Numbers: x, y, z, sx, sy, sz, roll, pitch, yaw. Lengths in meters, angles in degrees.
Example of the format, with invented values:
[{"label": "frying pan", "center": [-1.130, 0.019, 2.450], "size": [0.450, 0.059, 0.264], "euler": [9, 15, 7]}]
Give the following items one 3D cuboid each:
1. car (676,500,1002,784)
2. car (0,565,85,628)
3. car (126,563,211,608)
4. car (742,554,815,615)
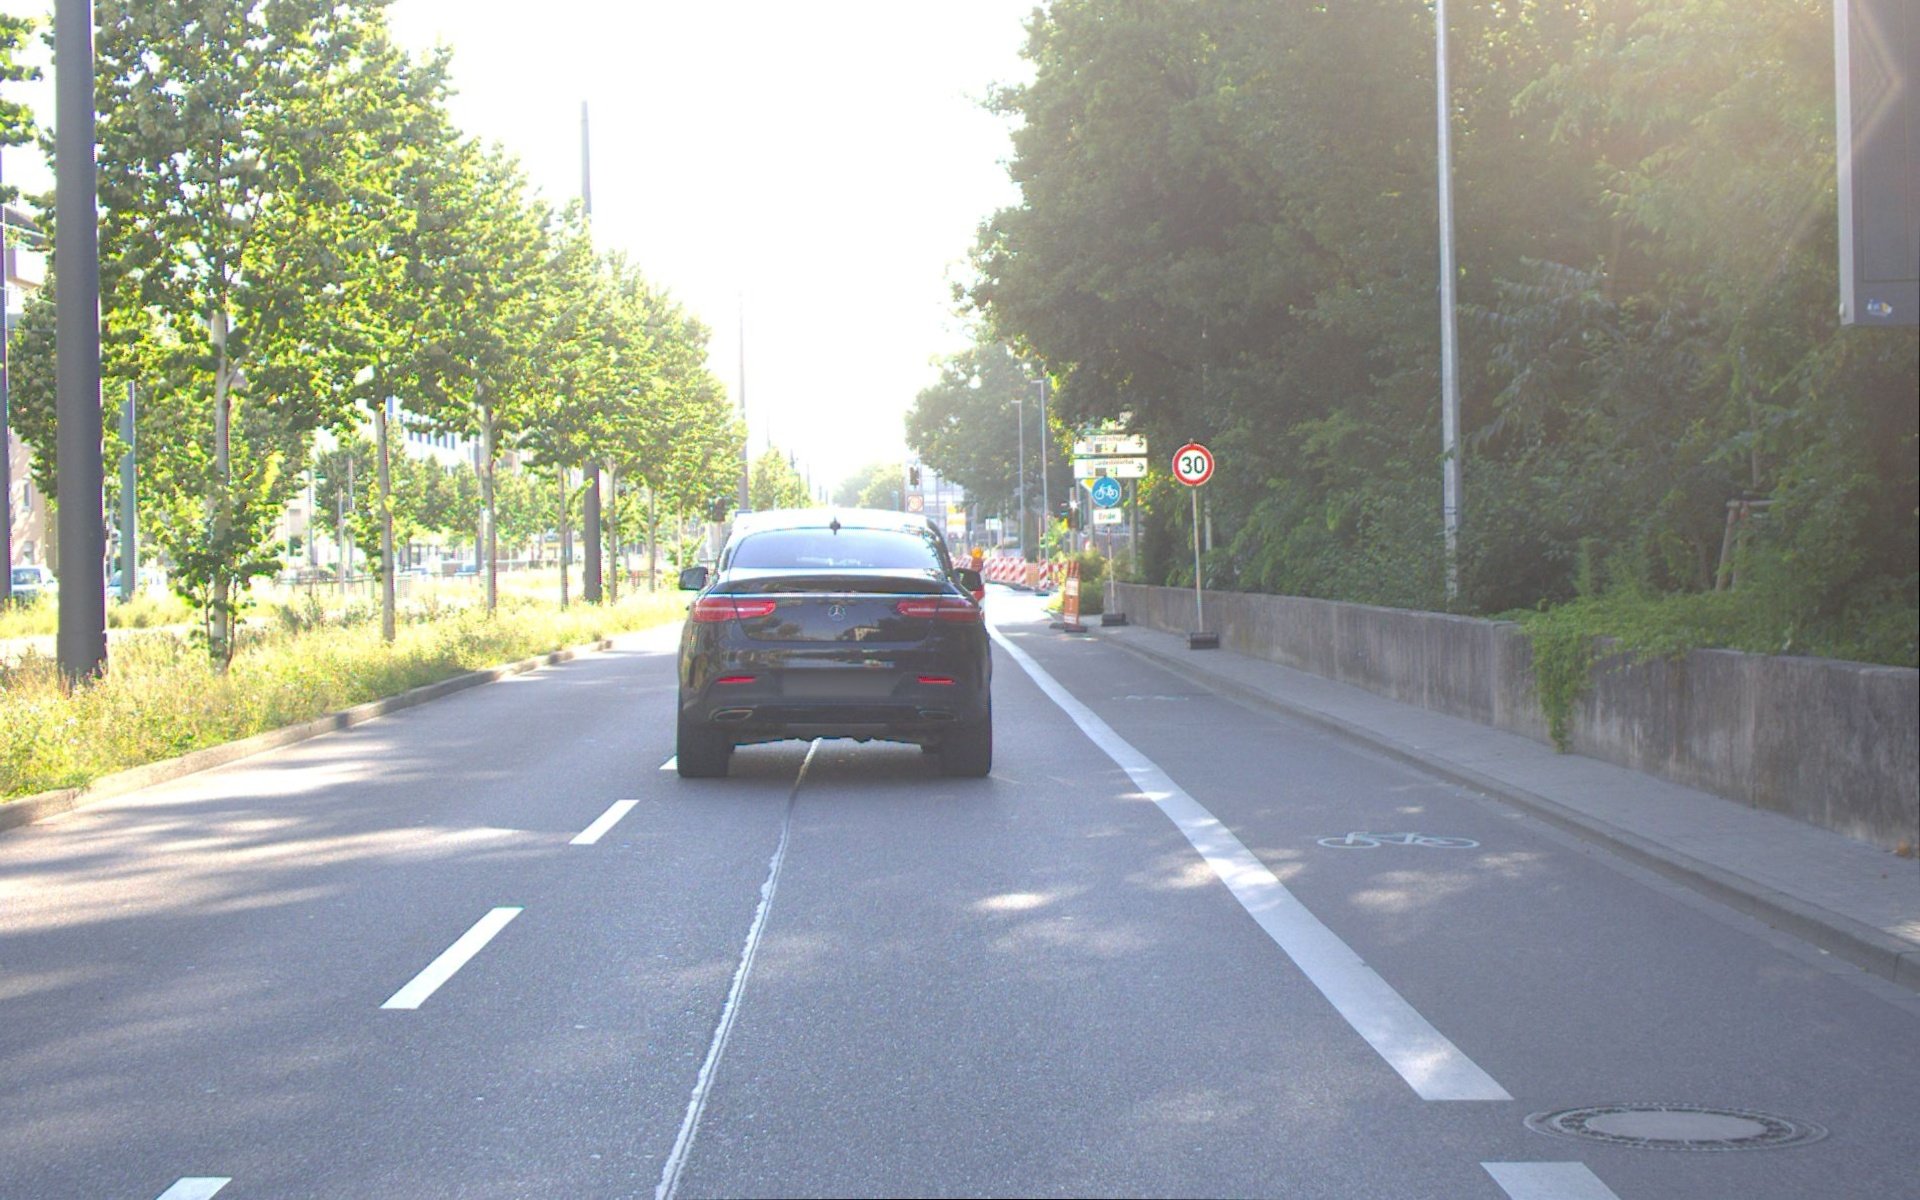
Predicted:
[{"label": "car", "center": [-0.887, 0.222, 23.019], "size": [1.993, 1.728, 4.001], "euler": [0, 1, -4]}, {"label": "car", "center": [-26.304, -0.126, 96.921], "size": [1.885, 1.683, 5.089], "euler": [0, 1, 1]}, {"label": "car", "center": [-26.911, -0.506, 116.994], "size": [1.885, 1.509, 4.000], "euler": [0, 1, 1]}, {"label": "car", "center": [-4.947, -0.452, 93.937], "size": [1.885, 1.575, 4.001], "euler": [0, 1, -2]}]
